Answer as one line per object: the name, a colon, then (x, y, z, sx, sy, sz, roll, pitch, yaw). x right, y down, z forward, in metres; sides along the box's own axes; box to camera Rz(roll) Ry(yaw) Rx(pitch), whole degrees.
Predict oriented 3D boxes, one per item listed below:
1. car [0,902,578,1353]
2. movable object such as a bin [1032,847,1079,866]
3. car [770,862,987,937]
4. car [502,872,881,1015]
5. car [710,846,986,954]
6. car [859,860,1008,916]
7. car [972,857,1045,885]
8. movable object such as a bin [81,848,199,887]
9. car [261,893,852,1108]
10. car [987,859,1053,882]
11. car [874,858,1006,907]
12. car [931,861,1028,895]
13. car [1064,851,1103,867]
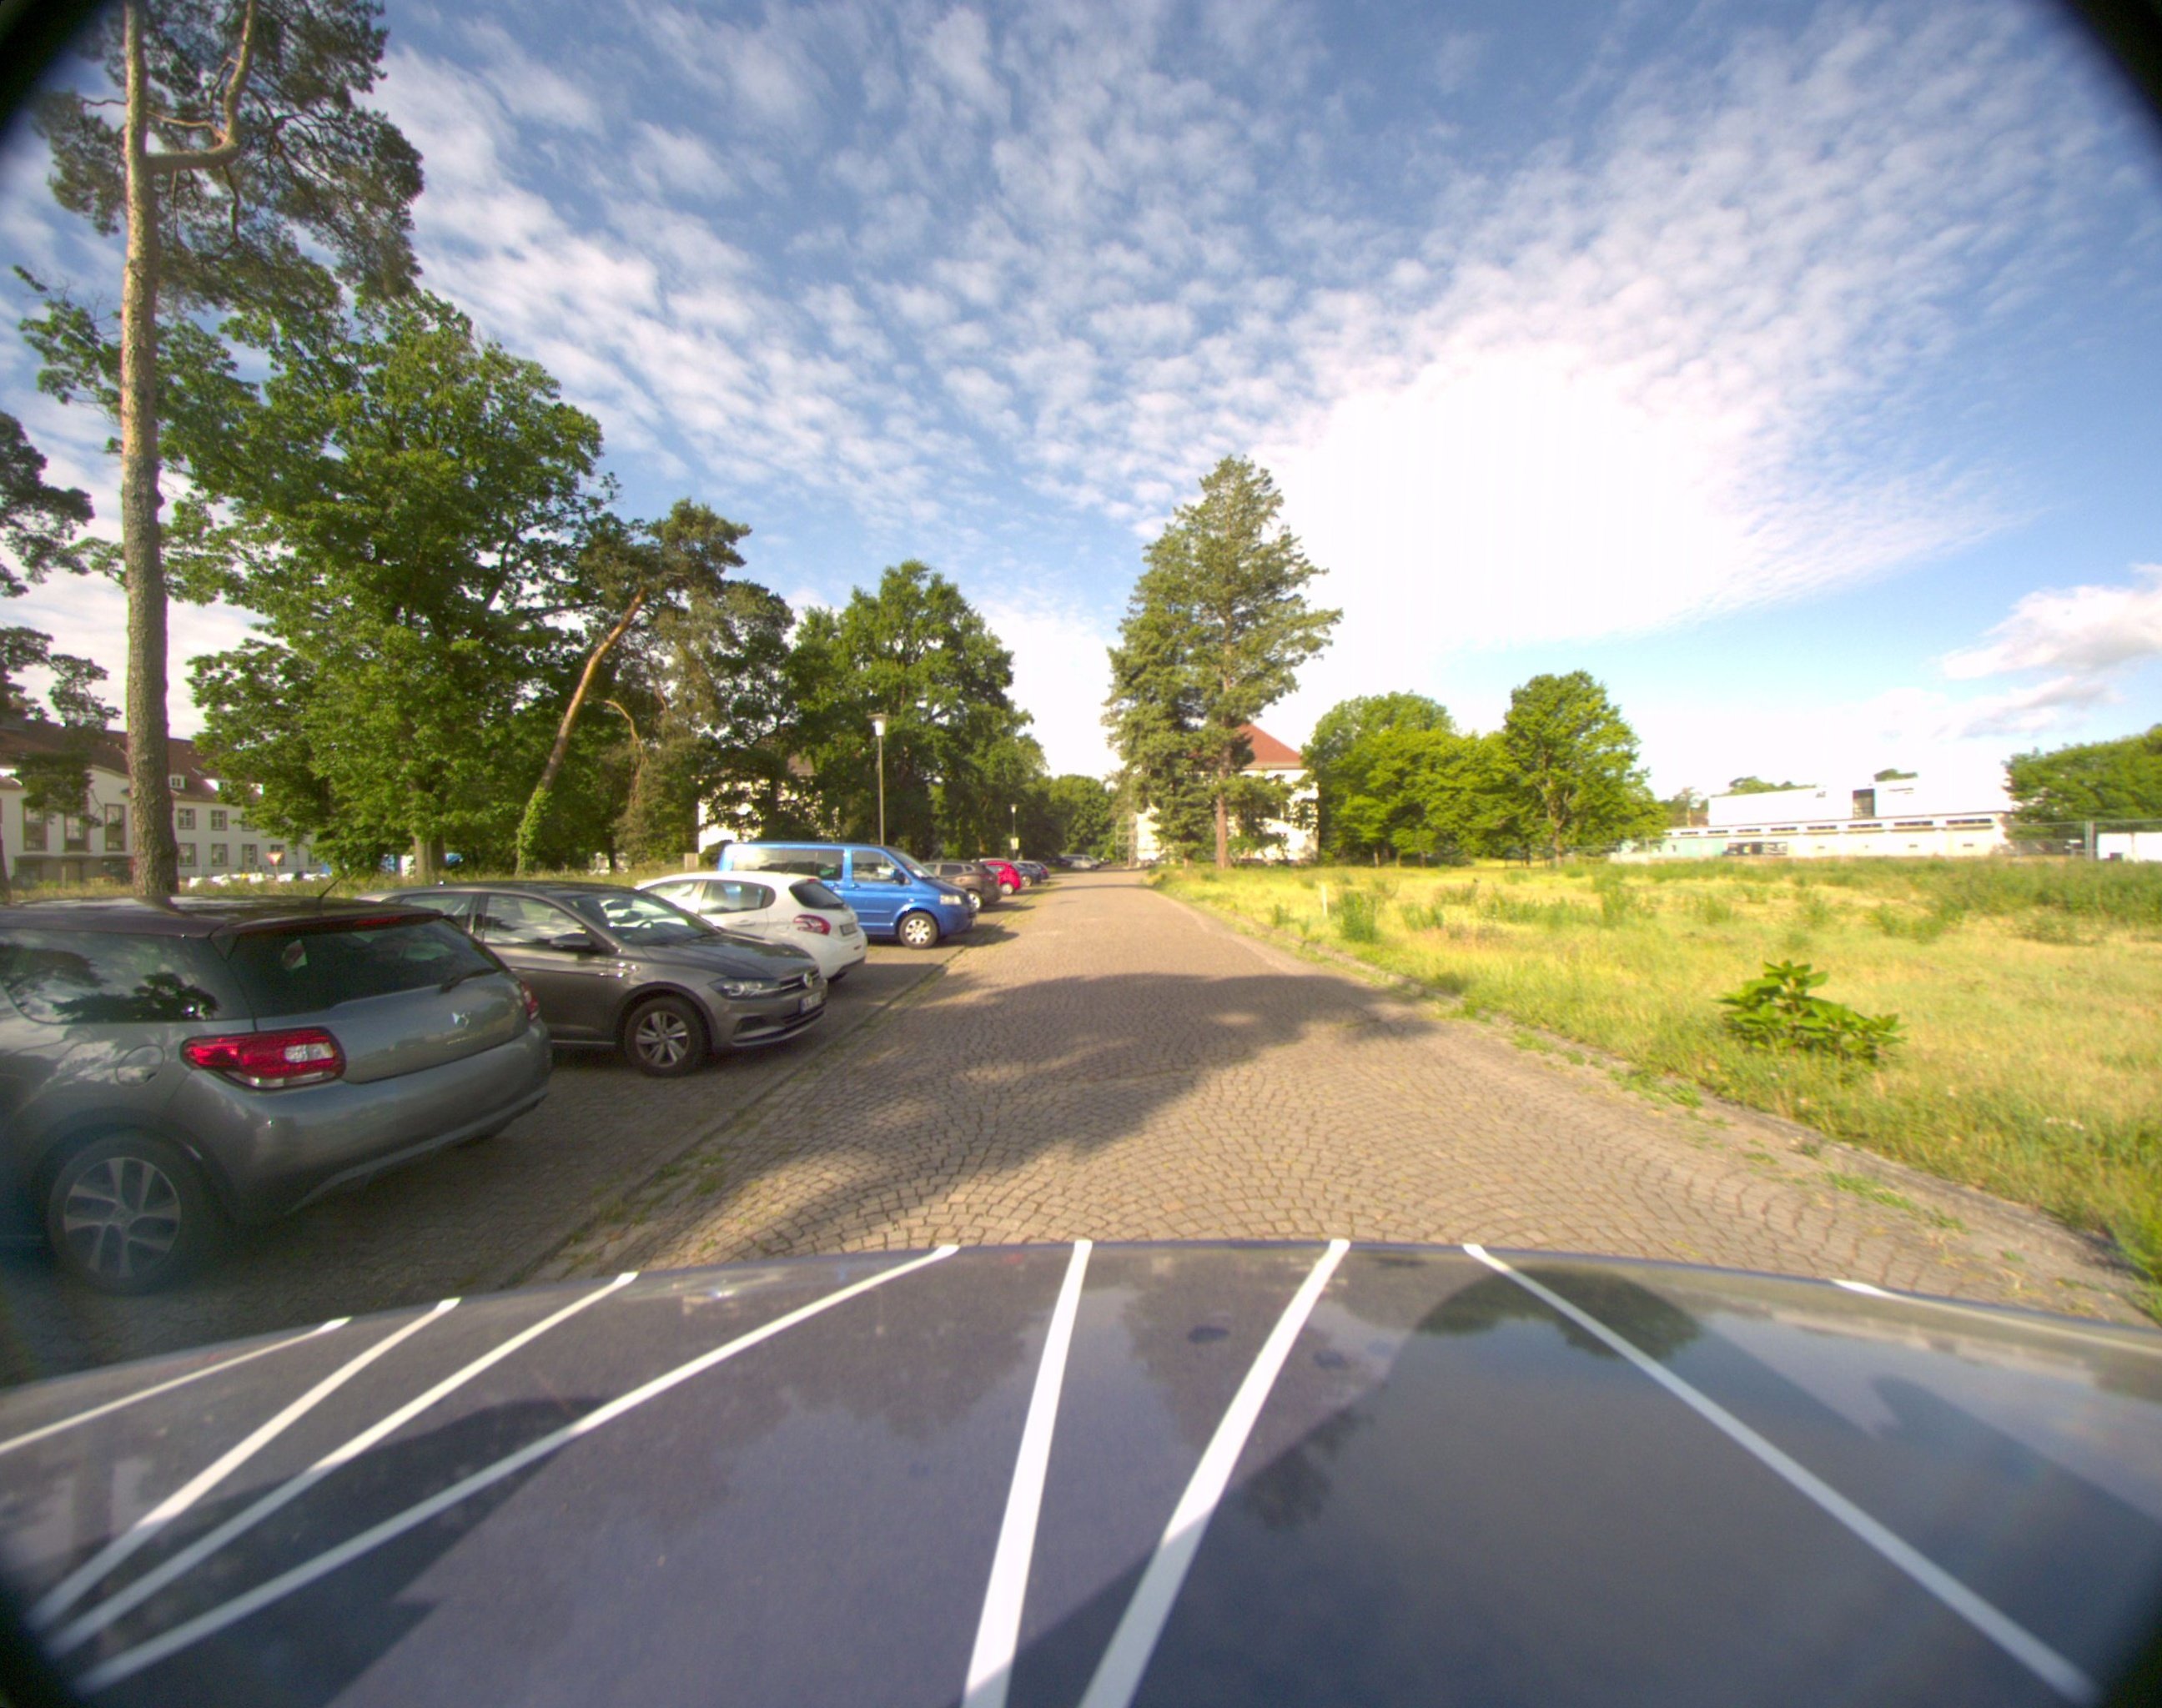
car: (-4.825, 1.012, 3.567, 3.716, 1.440, 1.816, 0, 0, 0)
movable object such as a bin: (-2.846, 0.284, 84.642, 4.865, 2.002, 2.002, -2, 0, 13)
car: (-4.473, 0.994, 17.309, 4.408, 1.568, 1.939, 0, 0, 0)
car: (-4.556, 1.011, 9.300, 3.716, 1.525, 1.761, 0, 0, 1)
car: (-4.320, 0.819, 14.688, 4.710, 1.924, 2.000, 0, 0, 0)
car: (-4.462, 1.012, 23.535, 4.237, 1.588, 1.934, -1, 1, -2)
car: (-4.164, 0.988, 44.158, 4.098, 1.548, 1.853, 1, 0, -1)
movable object such as a bin: (-88.579, 1.220, 71.748, 6.460, 3.282, 2.859, -4, 1, -43)
car: (-4.091, 1.104, 6.428, 3.716, 1.440, 1.856, 0, 0, 1)
car: (-3.897, 1.074, 48.844, 4.098, 1.414, 1.784, 1, 0, -1)
car: (-4.786, 0.957, 26.243, 4.237, 1.588, 1.934, 1, 1, -2)
car: (-4.477, 1.037, 33.935, 4.098, 1.451, 1.853, 1, 0, -1)
car: (0.305, 0.648, 97.422, 4.933, 2.002, 1.999, 0, 1, -5)
